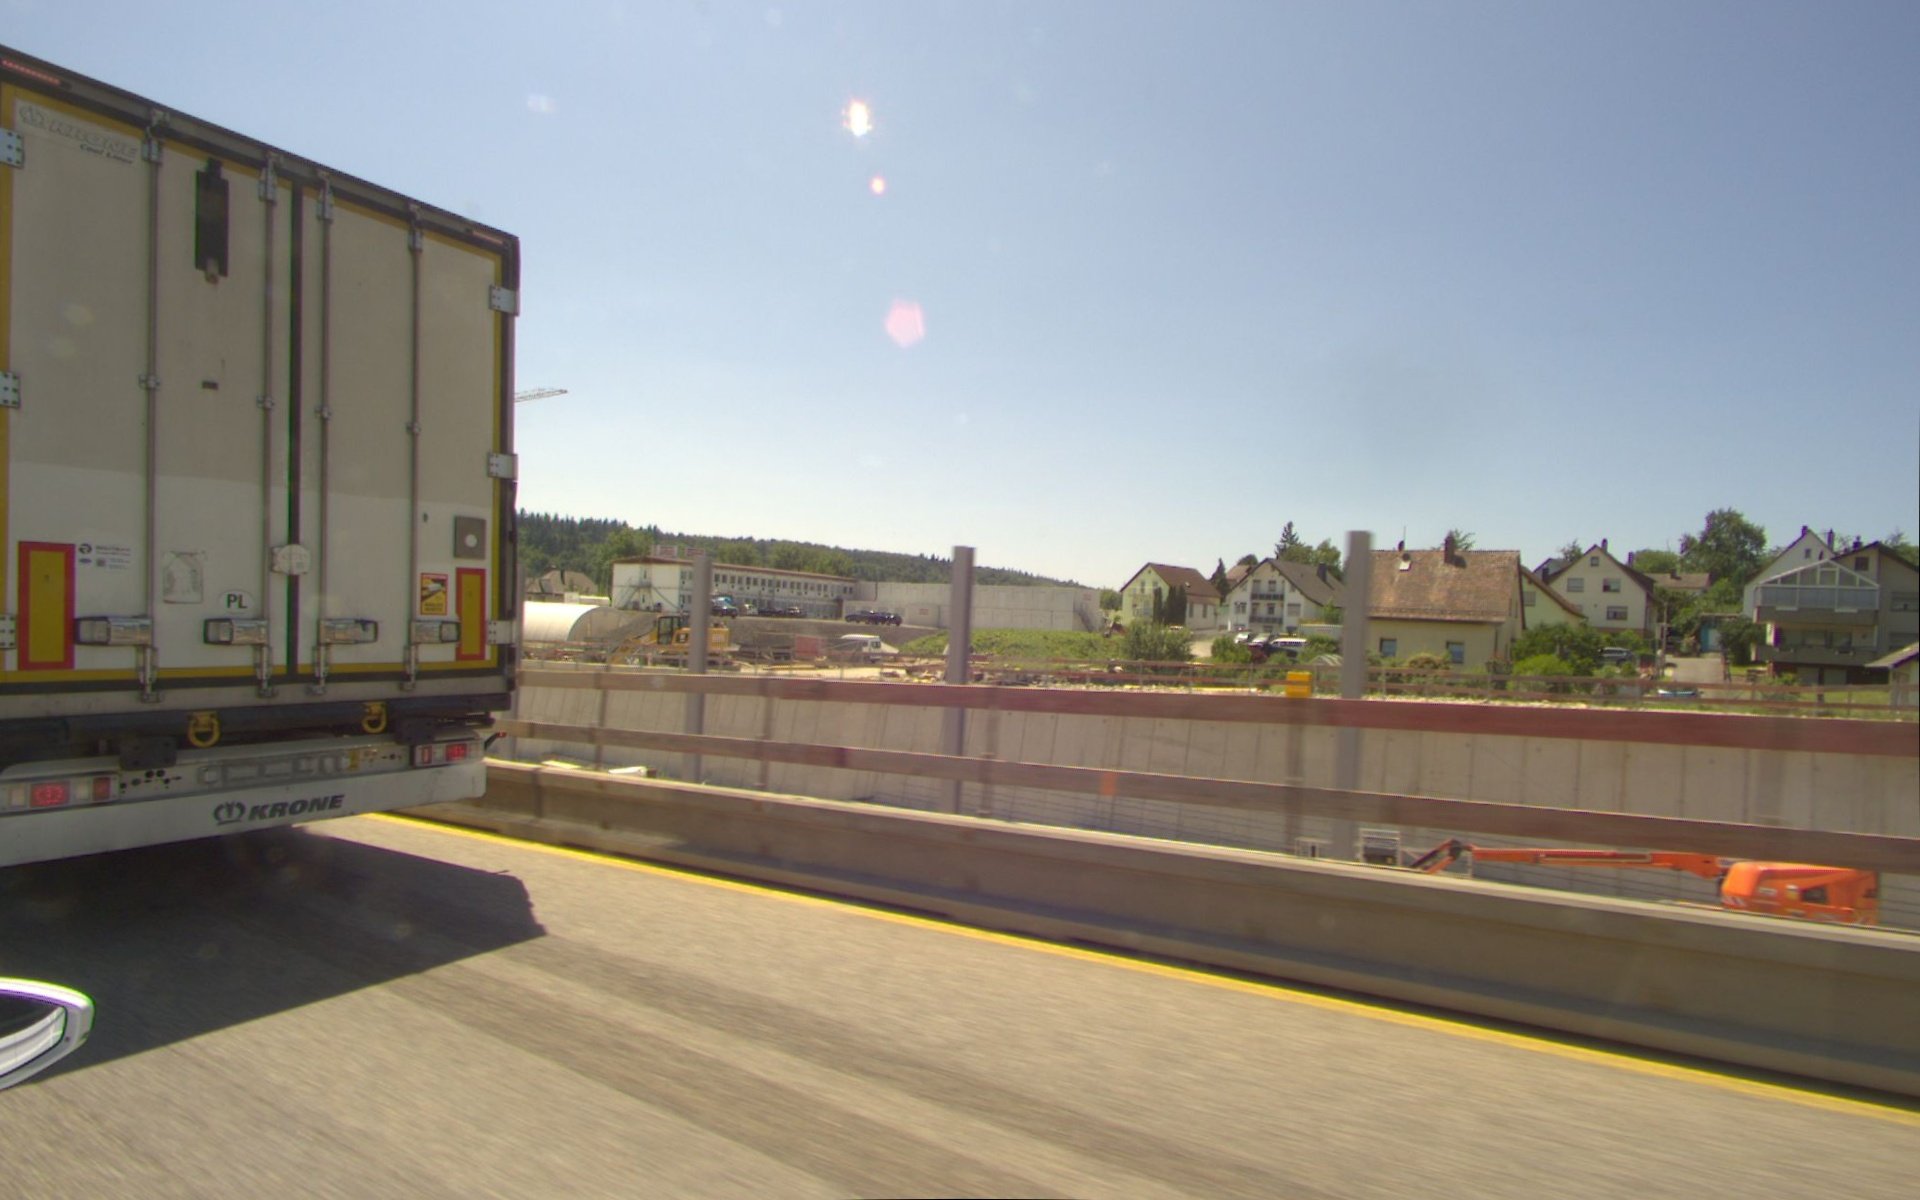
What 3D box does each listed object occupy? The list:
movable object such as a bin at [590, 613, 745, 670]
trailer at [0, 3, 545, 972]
[{"bbox_3d":[-16.302,2.234,55.387,9.346,2.946,2.882,0,-2,34],"label":"movable object such as a bin"},{"bbox_3d":[-9.246,-0.371,9.076,13.918,4.110,2.796,-1,-1,33],"label":"trailer"}]
